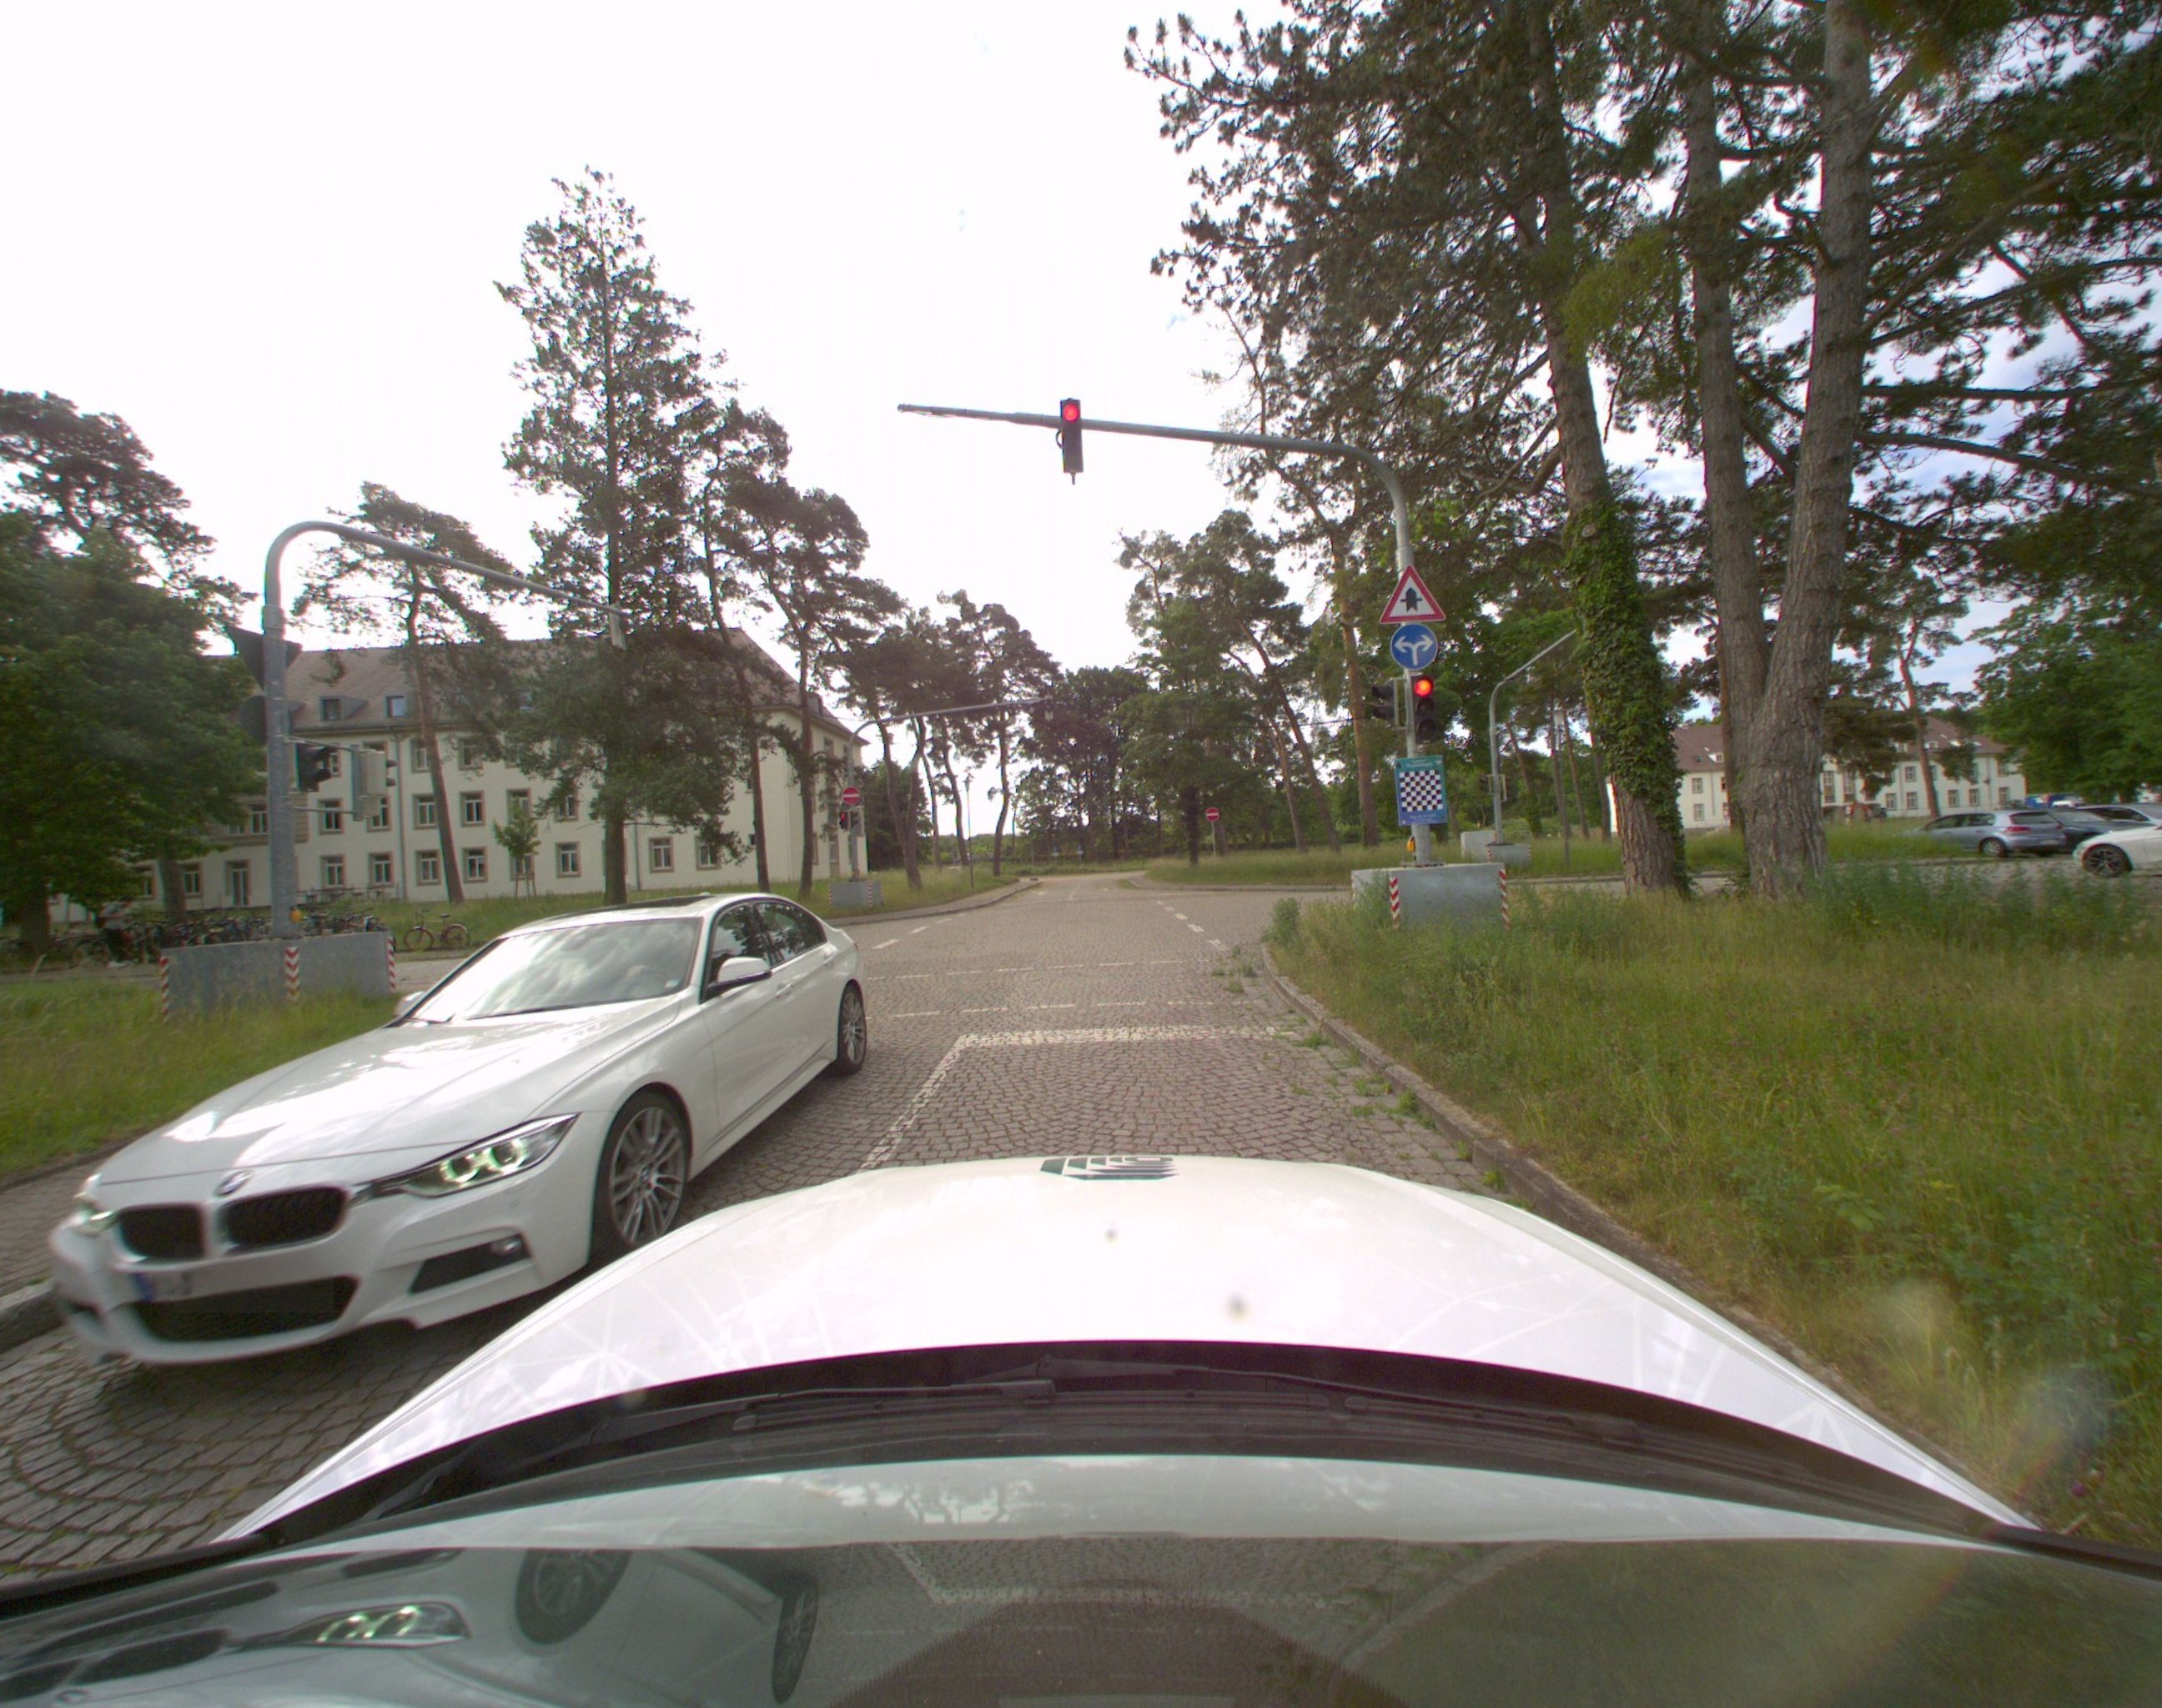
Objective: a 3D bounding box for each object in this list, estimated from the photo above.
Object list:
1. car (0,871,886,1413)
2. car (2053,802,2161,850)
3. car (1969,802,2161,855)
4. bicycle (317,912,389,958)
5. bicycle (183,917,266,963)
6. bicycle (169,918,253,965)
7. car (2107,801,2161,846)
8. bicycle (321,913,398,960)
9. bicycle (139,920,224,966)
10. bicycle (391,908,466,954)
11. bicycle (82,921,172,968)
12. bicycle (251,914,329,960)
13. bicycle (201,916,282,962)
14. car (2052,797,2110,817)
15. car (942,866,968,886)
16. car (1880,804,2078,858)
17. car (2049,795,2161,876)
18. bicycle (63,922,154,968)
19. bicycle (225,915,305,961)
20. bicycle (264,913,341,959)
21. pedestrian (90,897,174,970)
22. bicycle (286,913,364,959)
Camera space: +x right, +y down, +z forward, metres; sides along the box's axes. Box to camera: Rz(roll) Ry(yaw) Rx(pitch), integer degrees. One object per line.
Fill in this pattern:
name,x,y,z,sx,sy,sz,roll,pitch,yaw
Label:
car,-2.594,0.949,4.668,1.768,1.438,4.218,-6,0,0
car,33.893,-0.900,25.655,1.725,1.468,4.251,-3,0,7
car,31.143,-0.755,25.680,1.727,1.468,4.246,-3,0,2
bicycle,-19.947,2.197,22.349,0.513,1.079,1.584,-4,-1,-2
bicycle,-23.392,2.328,22.289,0.512,1.079,1.586,-4,-1,1
bicycle,-23.776,2.369,22.282,0.512,1.079,1.586,-4,-1,1
car,36.265,-1.048,26.072,1.725,1.468,4.251,-3,0,7
bicycle,-18.555,2.114,20.963,1.460,1.079,0.516,-4,-1,-1
bicycle,-24.571,2.408,22.284,0.512,1.079,1.586,-4,-1,1
bicycle,-16.921,1.995,21.127,1.460,1.065,0.516,-4,-1,-1
bicycle,-26.098,2.457,22.320,0.512,1.079,1.586,-4,-1,1
bicycle,-21.689,2.245,22.361,0.512,1.079,1.586,-4,-1,1
bicycle,-22.940,2.313,22.295,0.512,1.079,1.586,-4,-1,1
car,109.577,-5.138,89.239,4.049,1.905,1.927,-2,-1,-2
car,-12.167,2.134,78.918,1.988,1.846,3.997,-2,-1,-2
car,28.528,-0.689,26.119,1.727,1.509,4.246,-3,0,2
car,21.201,-0.421,14.695,1.843,1.487,4.605,-2,-3,-2
bicycle,-26.599,2.471,22.311,0.512,1.079,1.586,-4,-1,1
bicycle,-22.319,2.273,22.315,0.512,1.079,1.586,-4,-1,1
bicycle,-21.328,2.235,22.356,0.512,1.079,1.586,-4,-1,1
pedestrian,-25.197,2.085,21.634,1.050,1.788,1.165,-3,1,29
bicycle,-20.626,2.215,22.262,0.512,1.079,1.587,-4,-1,4
